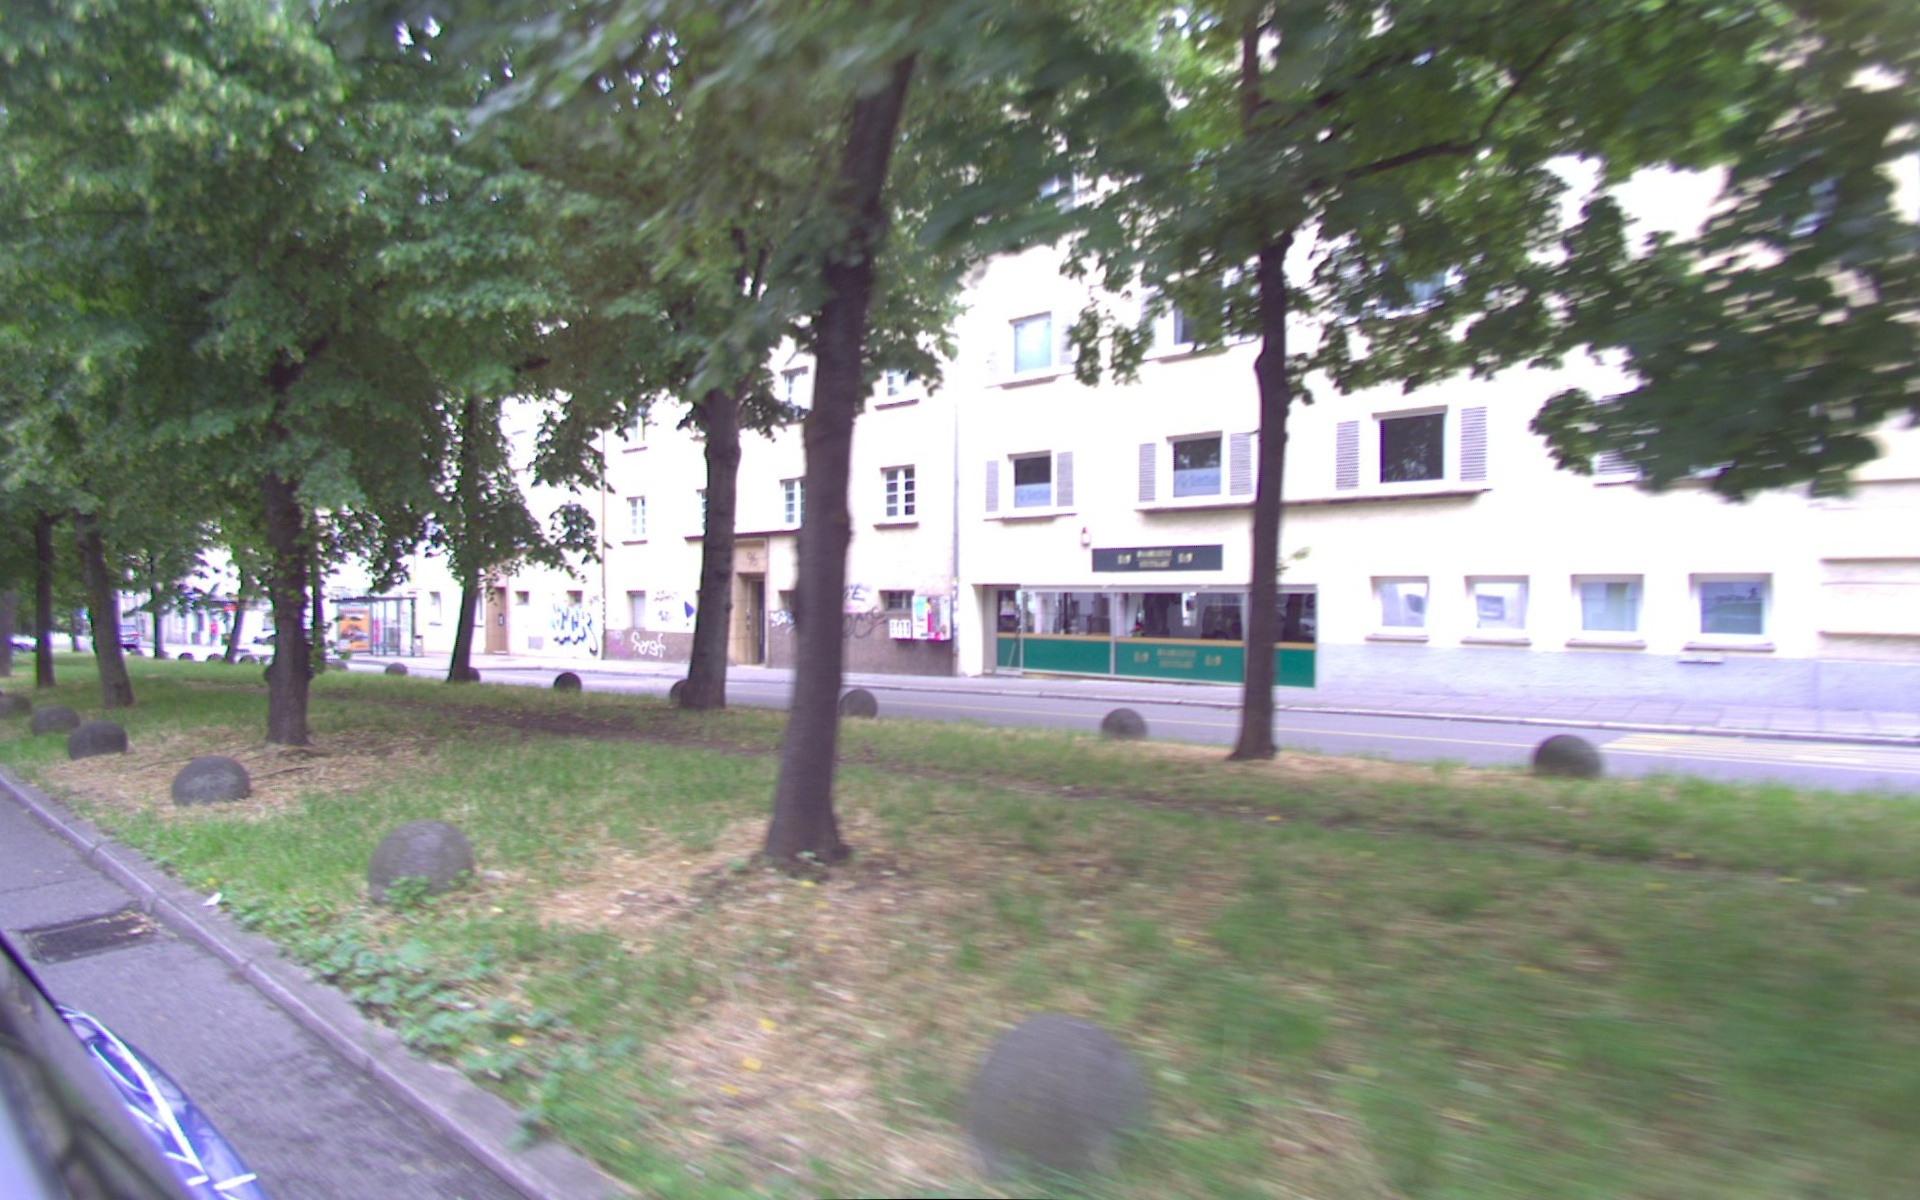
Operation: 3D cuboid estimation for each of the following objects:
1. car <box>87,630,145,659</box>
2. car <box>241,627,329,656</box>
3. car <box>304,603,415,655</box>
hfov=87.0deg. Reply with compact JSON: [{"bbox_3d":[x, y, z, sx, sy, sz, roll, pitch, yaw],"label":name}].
[{"bbox_3d":[-50.137,2.666,60.083,4.362,1.641,1.929,-3,-2,41],"label":"car"},{"bbox_3d":[-42.532,2.593,63.817,2.048,1.430,4.241,-4,0,43],"label":"car"},{"bbox_3d":[-34.970,1.664,59.104,2.168,2.757,5.137,-2,0,30],"label":"car"}]
